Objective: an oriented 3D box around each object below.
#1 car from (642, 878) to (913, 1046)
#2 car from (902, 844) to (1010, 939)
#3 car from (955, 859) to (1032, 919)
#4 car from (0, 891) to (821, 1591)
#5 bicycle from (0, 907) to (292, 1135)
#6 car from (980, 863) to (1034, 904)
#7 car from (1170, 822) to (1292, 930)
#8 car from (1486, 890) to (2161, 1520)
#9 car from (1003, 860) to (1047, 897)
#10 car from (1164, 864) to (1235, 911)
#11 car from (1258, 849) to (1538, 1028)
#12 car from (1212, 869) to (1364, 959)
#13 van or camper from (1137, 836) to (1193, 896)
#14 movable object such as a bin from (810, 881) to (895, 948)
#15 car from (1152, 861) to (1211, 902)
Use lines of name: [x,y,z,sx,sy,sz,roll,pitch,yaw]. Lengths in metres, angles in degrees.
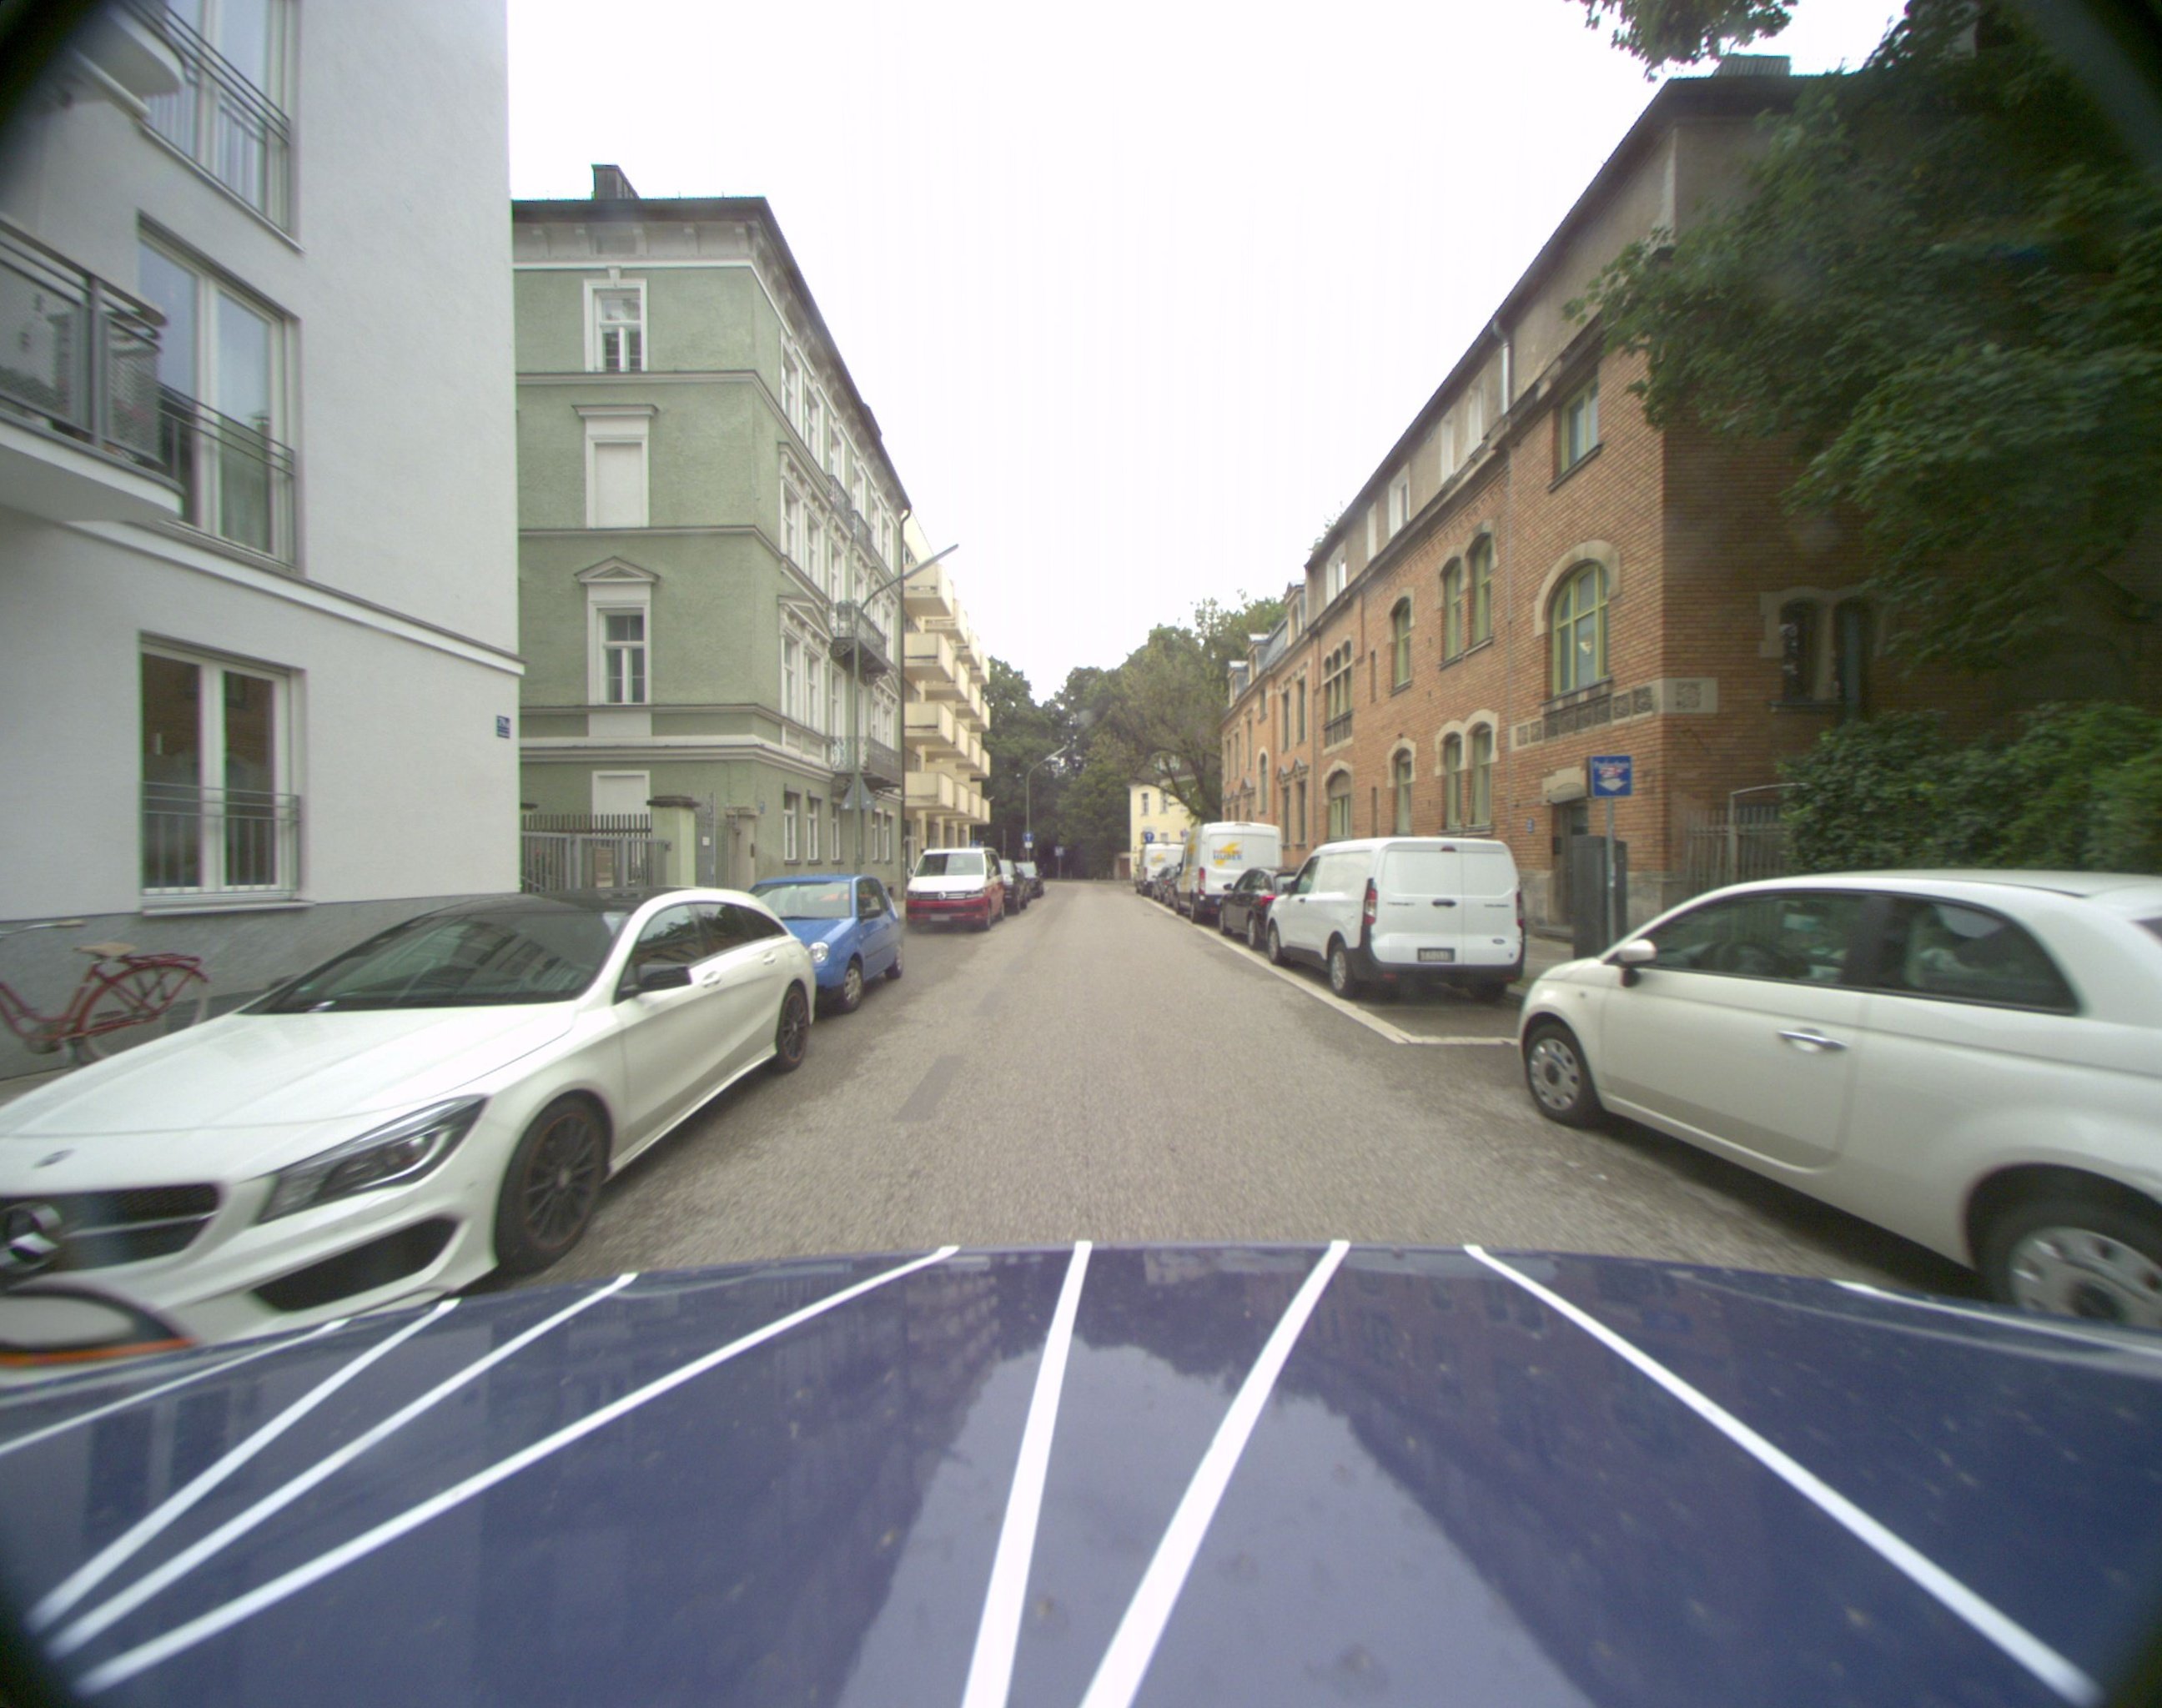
car: [-3.199,1.050,8.856,1.719,1.414,3.719,-2,-1,-2]
car: [-2.965,0.851,19.044,1.858,2.019,4.783,-1,-1,0]
car: [-2.709,1.045,24.547,1.860,1.700,4.698,-2,0,1]
car: [-2.925,1.043,3.978,1.668,1.458,4.376,-2,0,-1]
bicycle: [-6.415,0.989,4.781,0.804,1.165,1.974,-1,0,1]
car: [-2.859,1.111,30.108,1.753,1.458,4.336,1,-1,0]
car: [3.736,0.529,20.007,2.117,2.461,5.231,1,-1,0]
car: [3.514,0.967,3.222,1.631,1.459,3.520,1,0,-1]
car: [-2.603,1.111,36.033,1.771,1.607,4.263,-1,-1,0]
car: [3.865,1.060,25.350,1.769,1.407,3.793,1,-1,0]
car: [3.617,0.856,9.599,1.719,1.745,4.250,1,-1,0]
car: [3.711,1.009,14.389,1.719,1.412,4.166,1,-1,0]
van or camper: [3.935,0.560,36.423,2.116,2.646,4.958,1,-1,0]
movable object such as a bin: [-4.617,1.201,15.568,1.023,1.186,2.163,2,0,1]
car: [3.946,1.053,30.415,1.769,1.491,4.080,1,-1,0]
